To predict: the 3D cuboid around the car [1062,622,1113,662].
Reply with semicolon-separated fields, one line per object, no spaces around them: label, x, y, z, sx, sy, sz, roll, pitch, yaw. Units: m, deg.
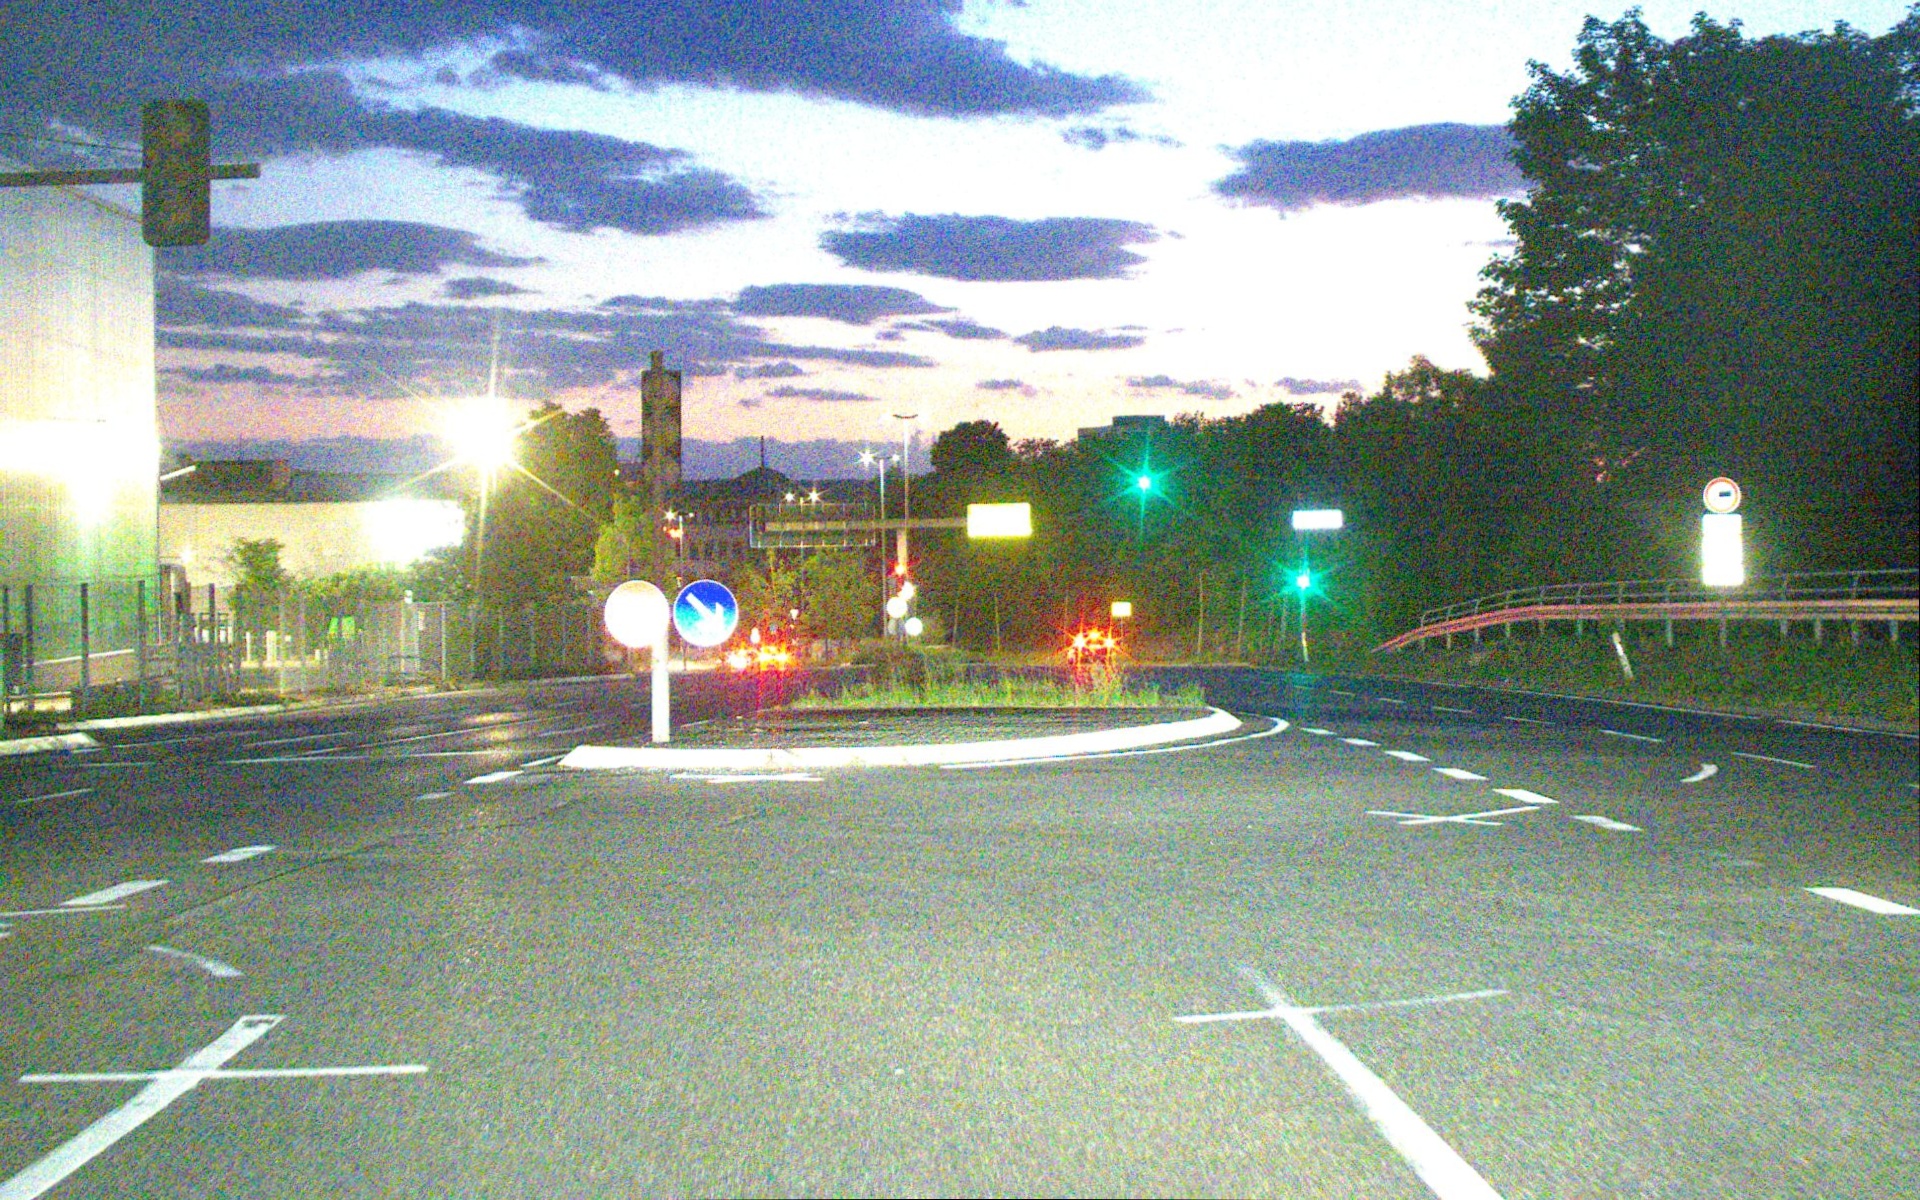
car;5.578;1.826;151.108;1.935;1.640;4.000;-1;1;-2
